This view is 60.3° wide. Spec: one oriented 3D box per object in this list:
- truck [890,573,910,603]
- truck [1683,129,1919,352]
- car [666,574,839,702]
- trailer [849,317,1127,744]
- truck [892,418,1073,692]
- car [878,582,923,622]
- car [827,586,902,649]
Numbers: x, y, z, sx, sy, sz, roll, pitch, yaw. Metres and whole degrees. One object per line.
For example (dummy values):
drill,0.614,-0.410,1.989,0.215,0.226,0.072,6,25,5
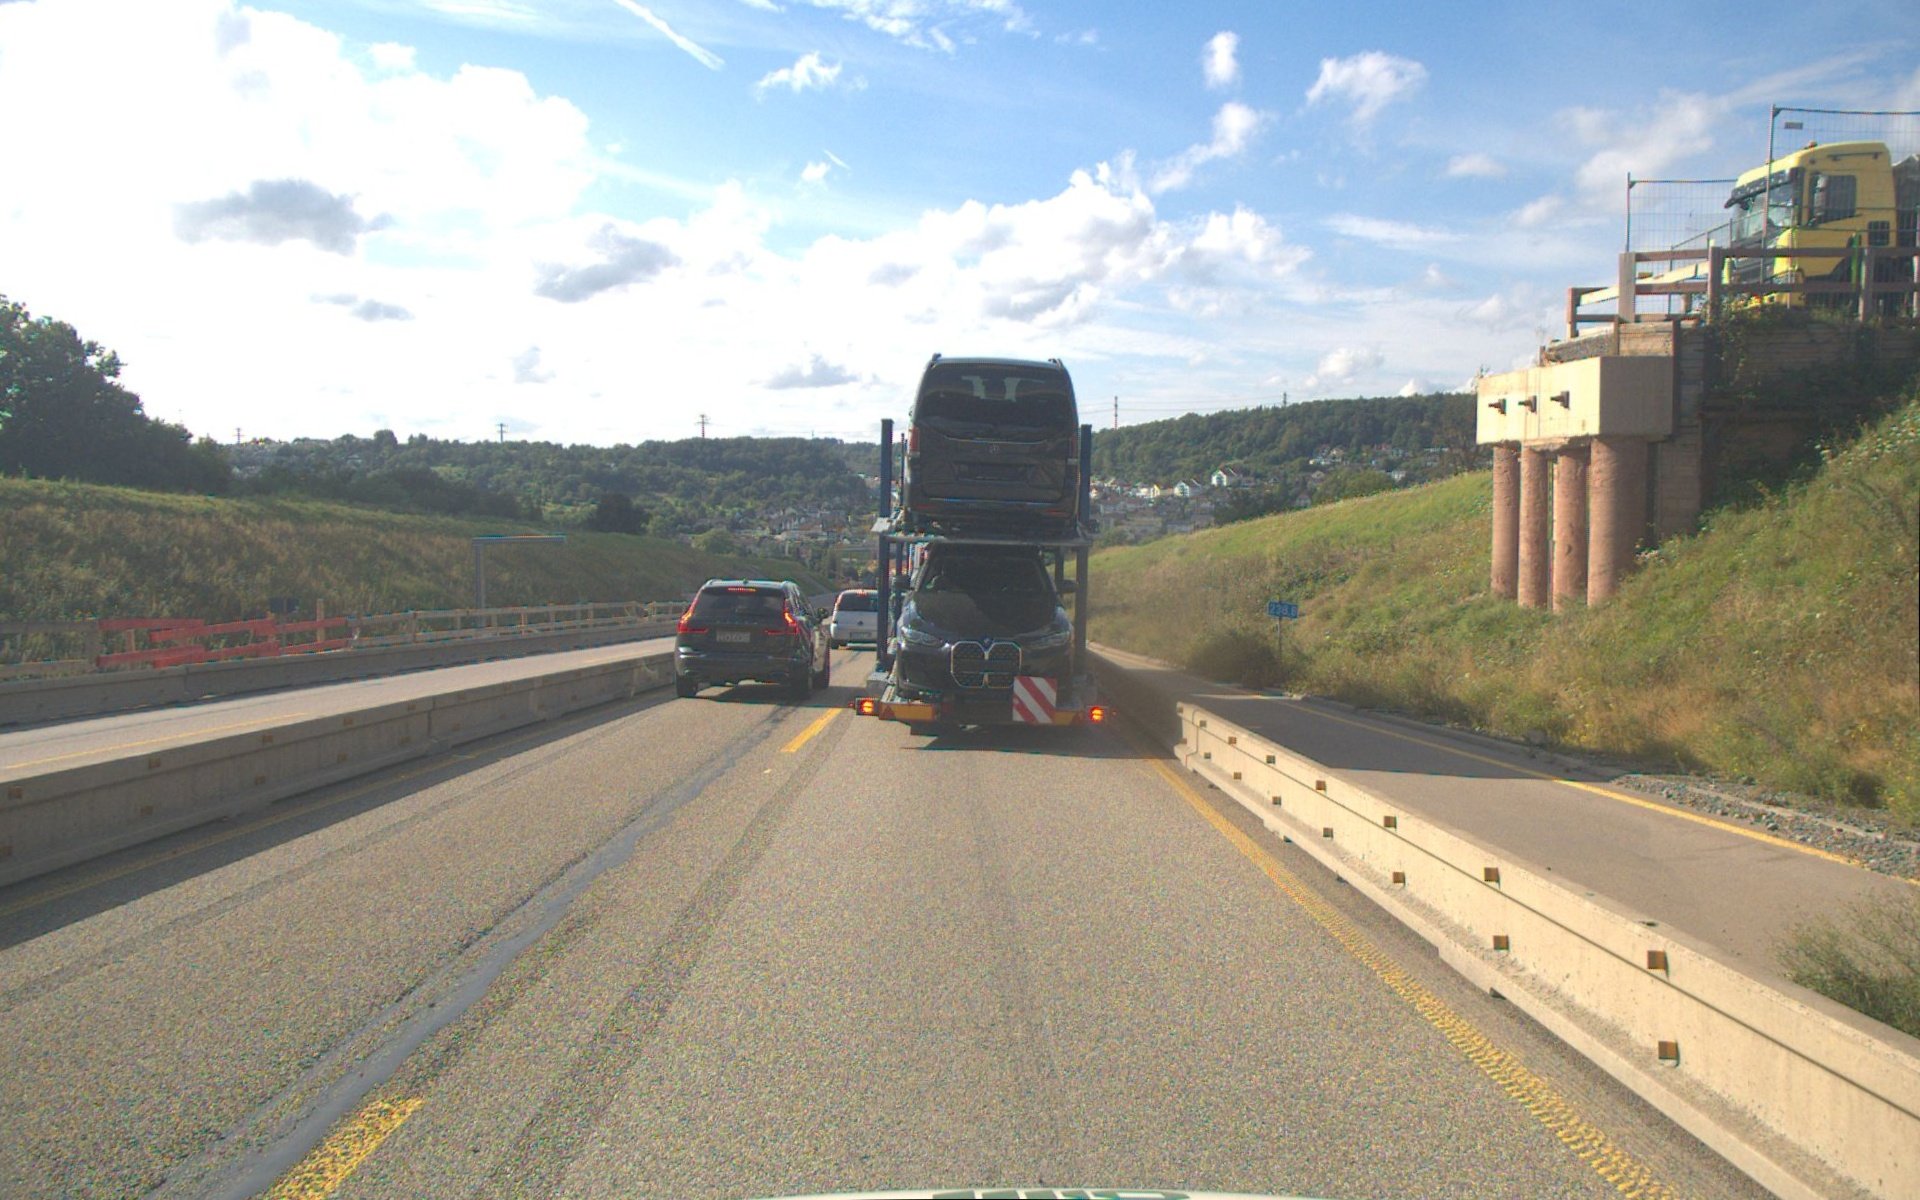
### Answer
truck,-8.585,-1.719,236.915,2.561,4.226,5.781,0,0,0
truck,17.996,-6.252,29.358,9.076,3.284,2.959,0,0,-2
car,-2.947,0.489,24.492,1.953,1.653,4.750,2,0,0
trailer,0.294,-0.686,21.642,2.652,4.099,11.419,0,0,0
truck,0.362,-0.667,27.159,2.623,3.990,6.028,0,0,1
car,-2.418,0.067,67.221,1.760,1.557,4.294,0,1,-2
car,-2.593,0.441,45.882,1.759,1.624,4.743,1,0,0
